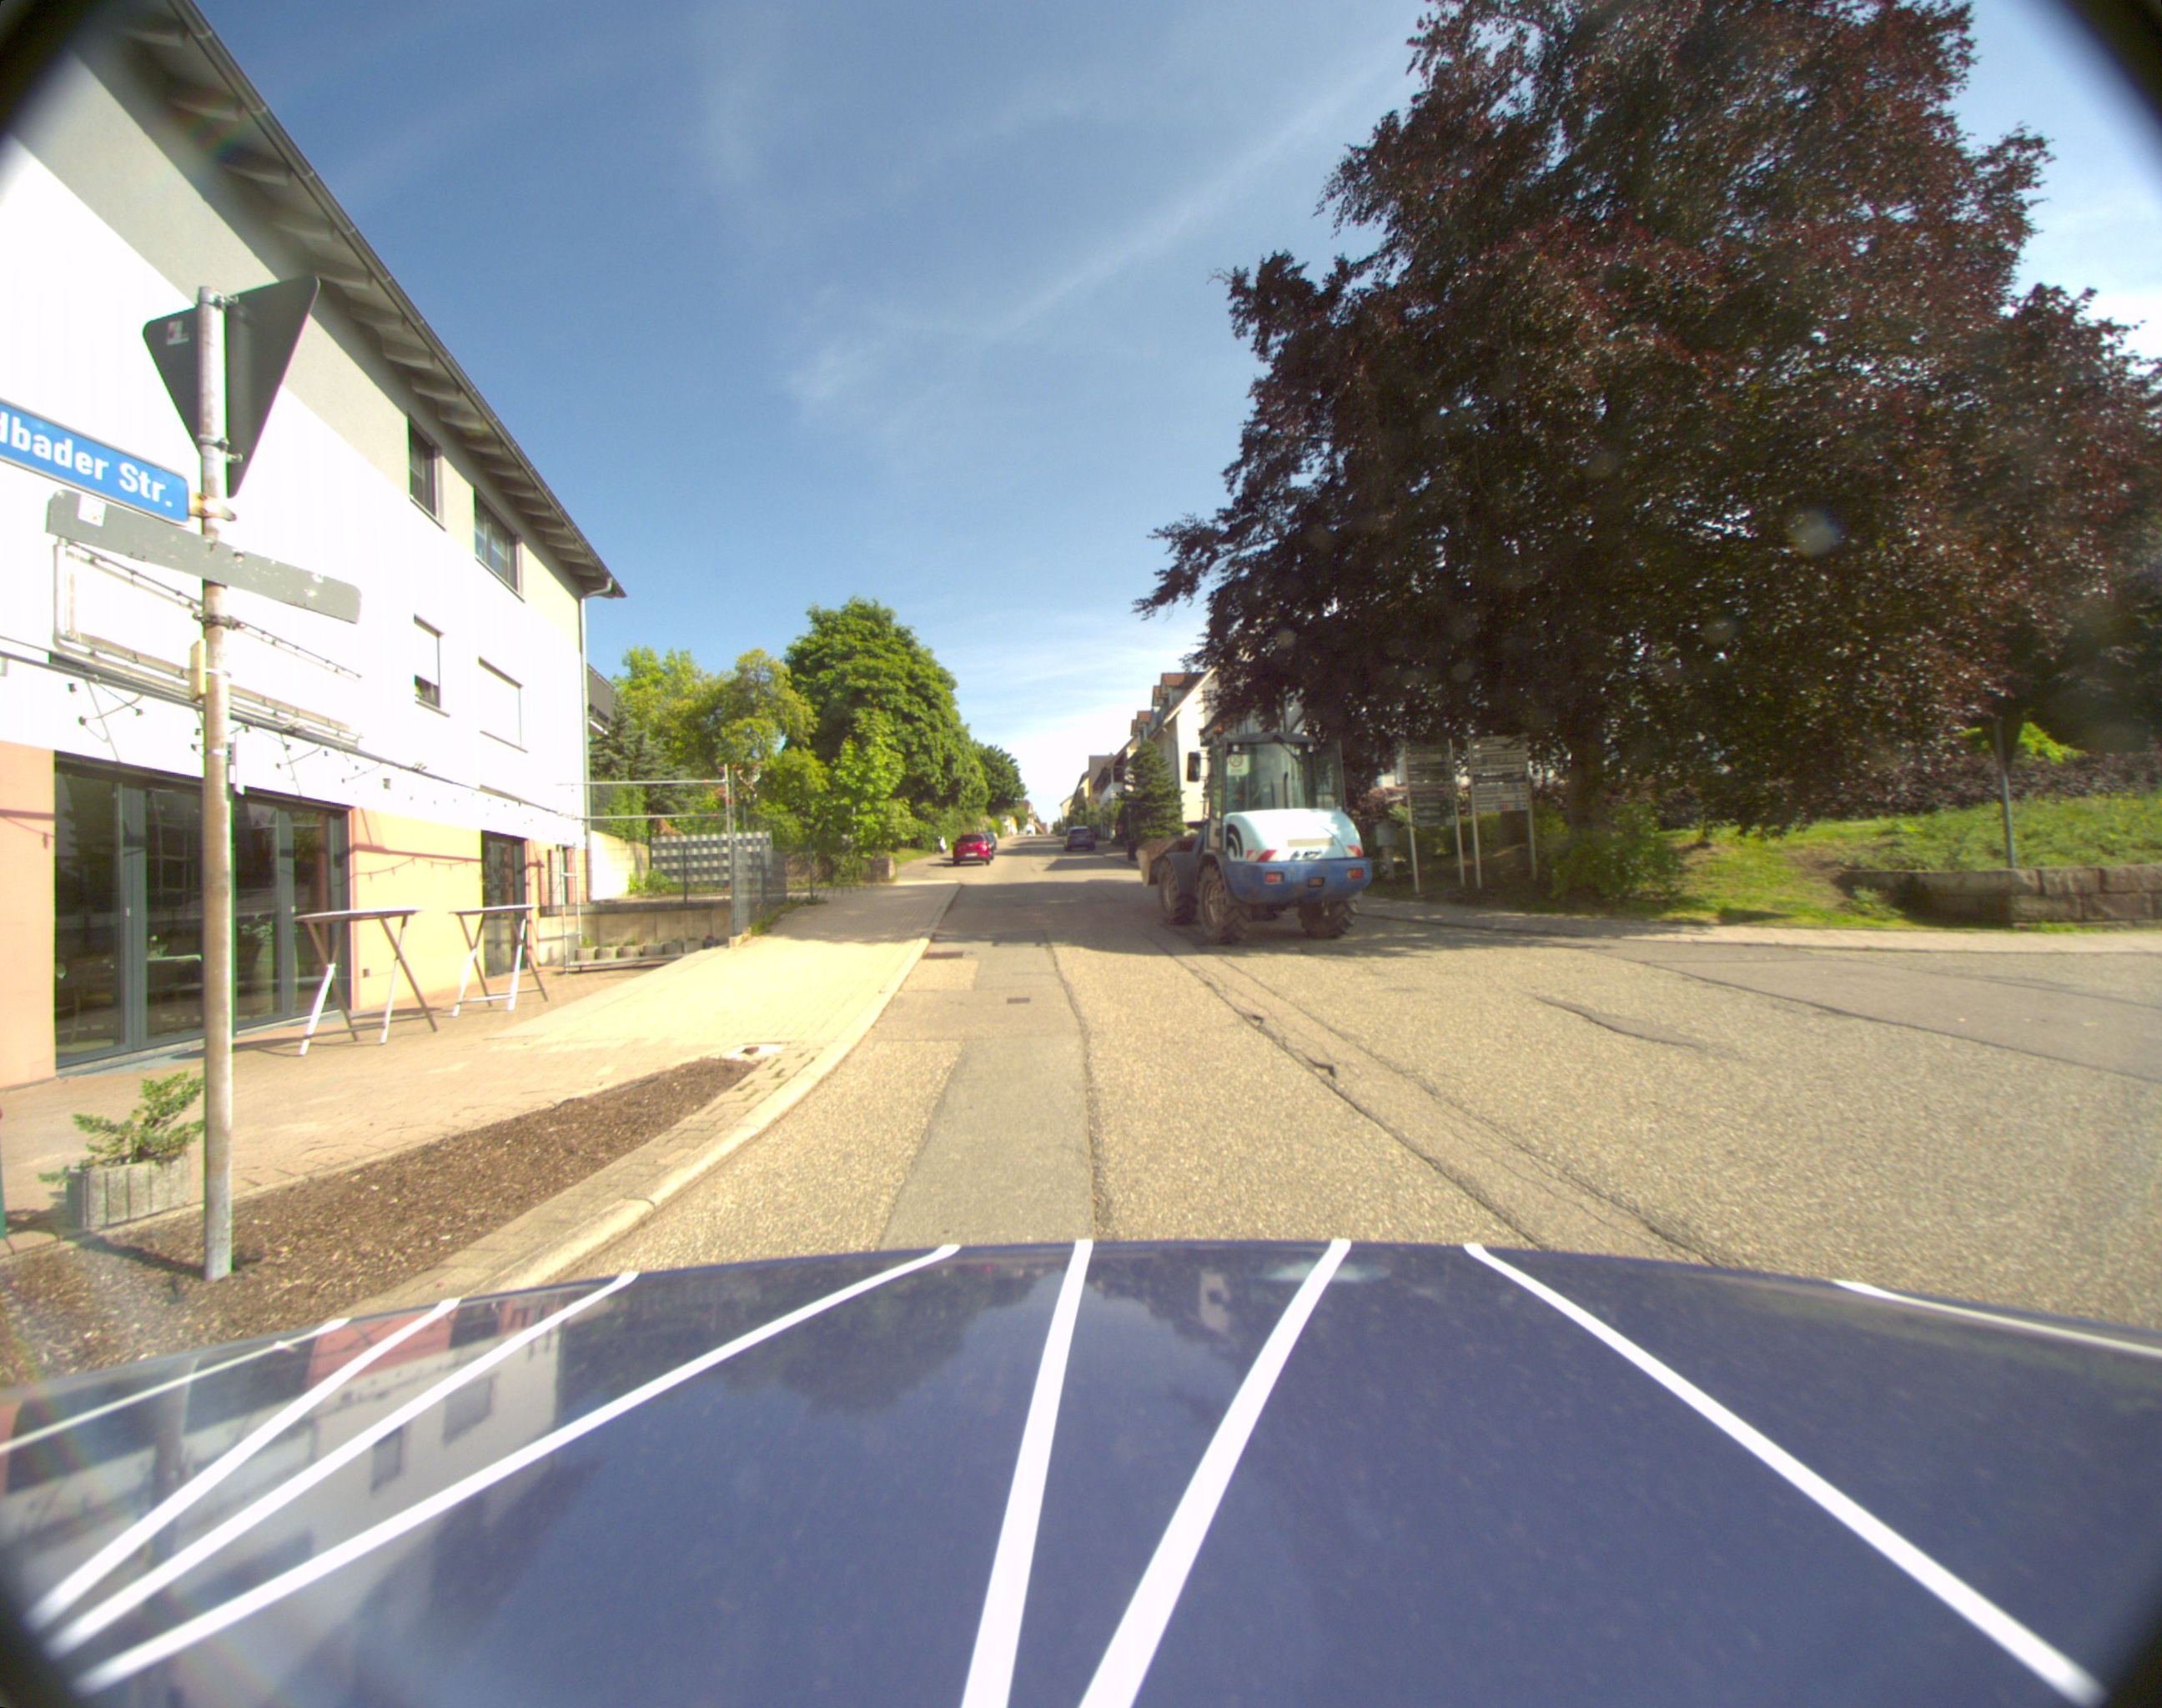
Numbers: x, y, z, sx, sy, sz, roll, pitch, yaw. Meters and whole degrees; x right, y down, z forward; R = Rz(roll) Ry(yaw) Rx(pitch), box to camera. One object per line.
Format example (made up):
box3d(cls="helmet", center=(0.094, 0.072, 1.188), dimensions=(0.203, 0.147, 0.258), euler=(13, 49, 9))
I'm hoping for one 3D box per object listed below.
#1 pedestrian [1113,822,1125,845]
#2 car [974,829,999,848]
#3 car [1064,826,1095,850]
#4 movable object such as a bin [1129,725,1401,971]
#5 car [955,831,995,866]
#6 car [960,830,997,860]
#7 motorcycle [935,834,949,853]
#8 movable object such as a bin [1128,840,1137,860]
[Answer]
box3d(cls="pedestrian", center=(2.625, -1.399, 52.128), dimensions=(0.667, 1.566, 0.781), euler=(-1, 3, 14))
box3d(cls="car", center=(-7.456, -1.248, 60.137), dimensions=(1.775, 1.462, 3.807), euler=(-2, 2, -5))
box3d(cls="car", center=(-0.141, -1.142, 52.722), dimensions=(1.808, 1.592, 3.807), euler=(-2, 2, -5))
box3d(cls="movable object such as a bin", center=(2.305, -0.162, 11.199), dimensions=(2.000, 2.754, 5.098), euler=(-2, 2, -10))
box3d(cls="car", center=(-4.989, -0.306, 36.156), dimensions=(1.624, 1.490, 3.807), euler=(-2, 2, -5))
box3d(cls="car", center=(-5.605, -0.528, 41.729), dimensions=(1.775, 1.462, 3.807), euler=(-2, 2, -5))
box3d(cls="motorcycle", center=(-9.269, -0.703, 50.686), dimensions=(0.785, 1.175, 2.186), euler=(-2, 2, -7))
box3d(cls="movable object such as a bin", center=(2.290, -0.177, 33.948), dimensions=(0.351, 0.859, 0.395), euler=(-2, 2, -4))
